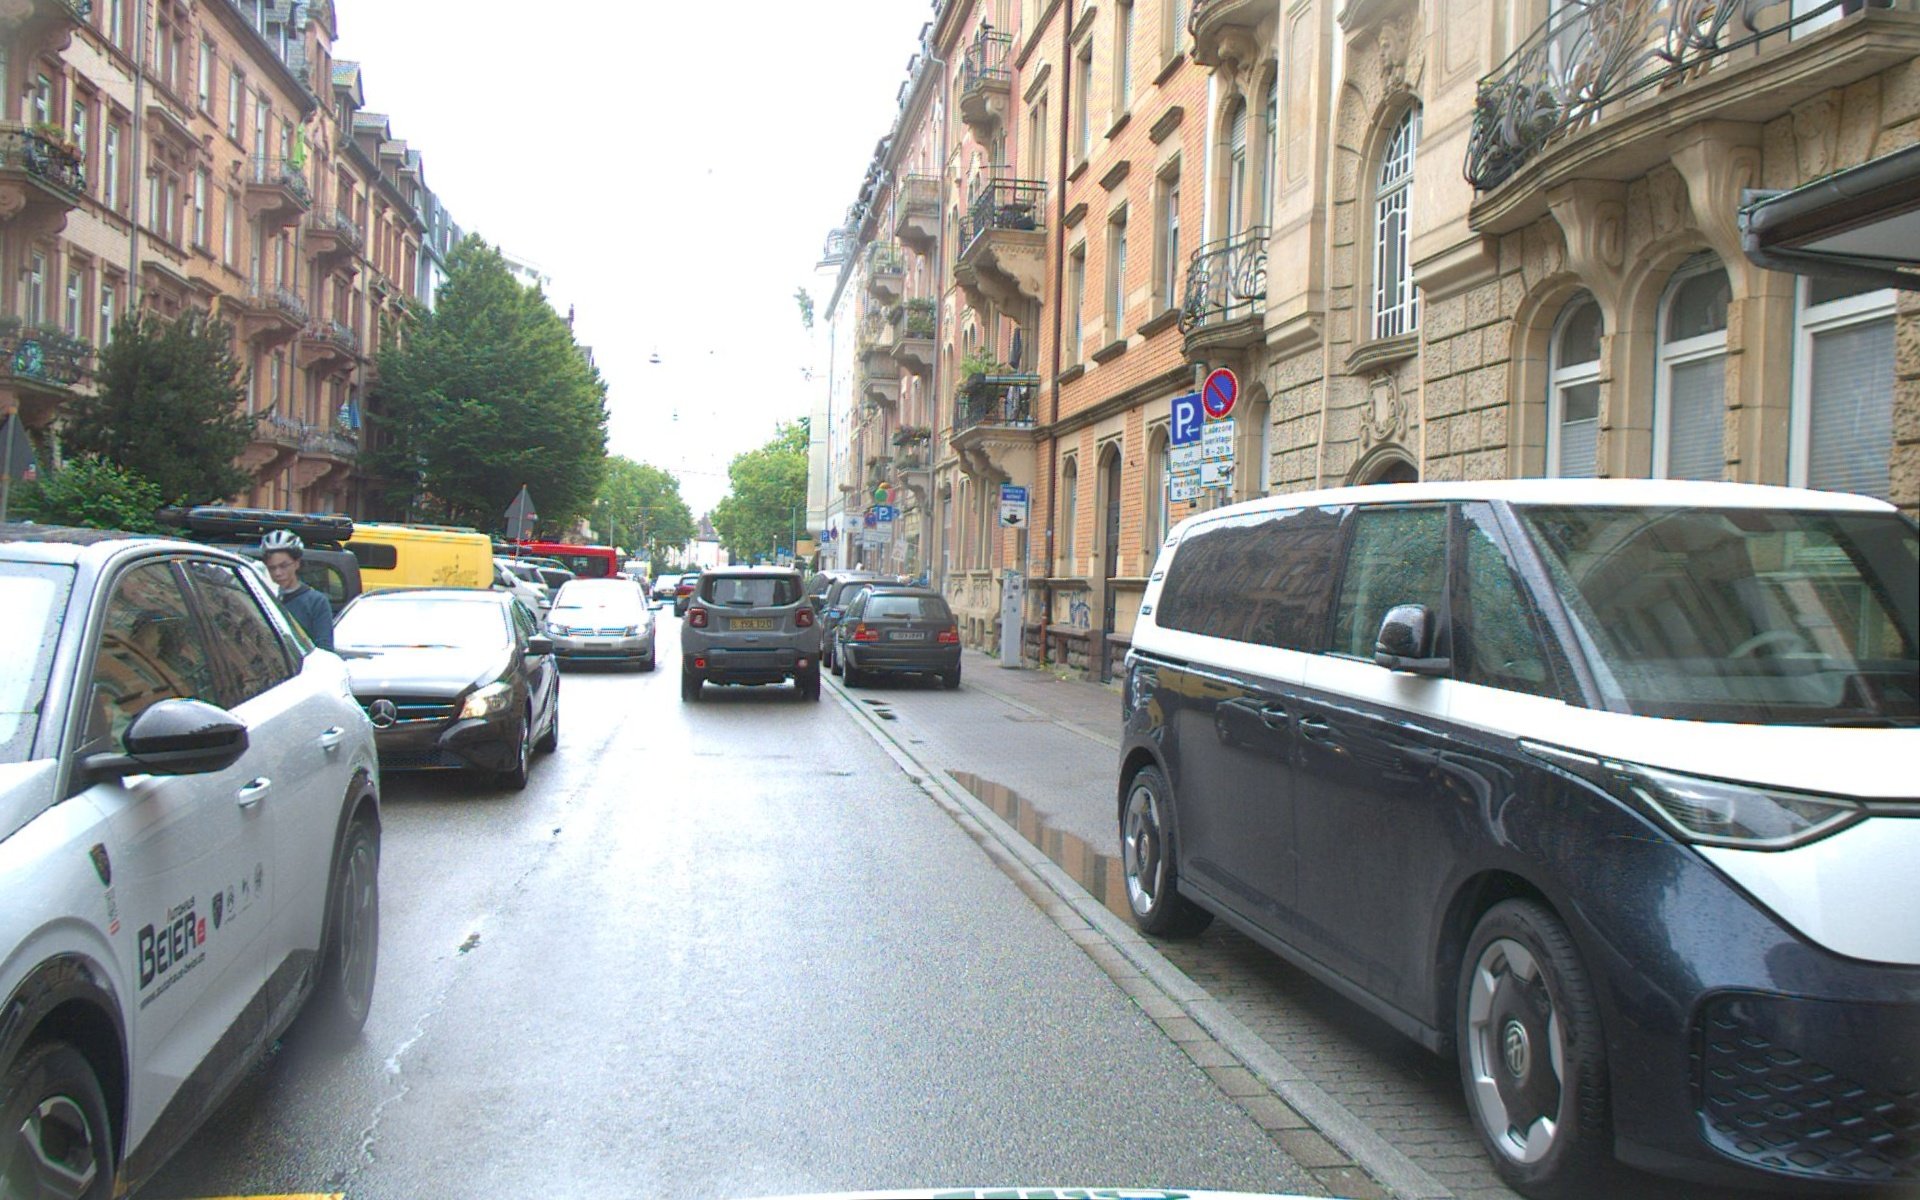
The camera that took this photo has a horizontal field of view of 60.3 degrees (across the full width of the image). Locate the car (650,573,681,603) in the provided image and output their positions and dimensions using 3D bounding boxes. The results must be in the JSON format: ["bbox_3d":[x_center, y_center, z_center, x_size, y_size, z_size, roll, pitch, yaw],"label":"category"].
[{"bbox_3d":[-16.428,-0.660,92.086,1.640,1.586,3.993,2,0,-11],"label":"car"}]

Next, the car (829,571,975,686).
[{"bbox_3d":[-0.975,0.360,25.268,1.753,1.492,4.477,2,2,-8],"label":"car"}]

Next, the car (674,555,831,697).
[{"bbox_3d":[-2.877,0.297,22.281,1.864,1.700,4.495,1,0,-10],"label":"car"}]

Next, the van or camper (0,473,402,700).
[{"bbox_3d":[-8.962,-0.077,19.415,4.048,2.278,1.908,5,-3,-41],"label":"van or camper"}]

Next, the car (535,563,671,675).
[{"bbox_3d":[-6.072,0.259,28.558,1.762,1.519,4.576,6,1,-8],"label":"car"}]

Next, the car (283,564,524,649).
[{"bbox_3d":[-10.484,0.142,31.268,3.958,1.461,1.761,2,0,-38],"label":"car"}]

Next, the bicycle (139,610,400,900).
[{"bbox_3d":[-3.478,0.701,8.553,0.756,1.201,2.264,1,2,-10],"label":"bicycle"}]

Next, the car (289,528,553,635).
[{"bbox_3d":[-11.809,-0.370,36.379,5.188,2.114,1.849,2,0,-34],"label":"car"}]

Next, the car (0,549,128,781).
[{"bbox_3d":[-7.848,0.321,10.596,4.106,1.520,1.772,5,-3,-44],"label":"car"}]

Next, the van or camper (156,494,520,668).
[{"bbox_3d":[-9.476,-0.247,25.414,4.685,2.307,2.153,4,0,-42],"label":"van or camper"}]

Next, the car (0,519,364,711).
[{"bbox_3d":[-8.448,0.176,16.749,1.771,1.691,4.108,2,-3,45],"label":"car"}]

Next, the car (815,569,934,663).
[{"bbox_3d":[-1.646,0.241,30.443,1.836,1.589,4.337,0,1,-8],"label":"car"}]

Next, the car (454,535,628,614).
[{"bbox_3d":[-14.822,-0.886,58.612,5.512,2.585,2.201,2,1,-37],"label":"car"}]

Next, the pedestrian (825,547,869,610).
[{"bbox_3d":[-3.698,-0.716,54.251,0.665,1.957,0.814,0,-34,26],"label":"pedestrian"}]

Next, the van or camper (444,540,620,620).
[{"bbox_3d":[-13.799,-0.634,53.444,4.967,2.390,2.316,2,1,-35],"label":"van or camper"}]

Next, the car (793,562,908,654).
[{"bbox_3d":[-2.428,0.146,35.500,1.957,1.810,4.816,1,0,-10],"label":"car"}]

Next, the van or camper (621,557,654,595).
[{"bbox_3d":[-24.376,-1.751,125.222,2.082,2.575,6.860,-2,-1,-9],"label":"van or camper"}]

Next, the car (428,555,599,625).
[{"bbox_3d":[-12.957,-0.287,48.100,4.394,1.659,1.822,5,0,-35],"label":"car"}]

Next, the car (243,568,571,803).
[{"bbox_3d":[-4.096,0.531,12.897,1.762,1.520,4.130,0,1,-9],"label":"car"}]

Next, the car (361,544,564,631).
[{"bbox_3d":[-12.497,-0.321,41.879,4.495,1.816,2.540,4,0,-10],"label":"car"}]

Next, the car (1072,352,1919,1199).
[{"bbox_3d":[2.032,0.463,6.097,1.958,1.973,5.216,0,1,-11],"label":"car"}]

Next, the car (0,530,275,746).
[{"bbox_3d":[-8.098,0.267,13.610,1.772,1.691,4.108,3,-2,45],"label":"car"}]

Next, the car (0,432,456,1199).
[{"bbox_3d":[-2.590,0.570,4.014,1.824,1.689,4.999,1,0,-8],"label":"car"}]
